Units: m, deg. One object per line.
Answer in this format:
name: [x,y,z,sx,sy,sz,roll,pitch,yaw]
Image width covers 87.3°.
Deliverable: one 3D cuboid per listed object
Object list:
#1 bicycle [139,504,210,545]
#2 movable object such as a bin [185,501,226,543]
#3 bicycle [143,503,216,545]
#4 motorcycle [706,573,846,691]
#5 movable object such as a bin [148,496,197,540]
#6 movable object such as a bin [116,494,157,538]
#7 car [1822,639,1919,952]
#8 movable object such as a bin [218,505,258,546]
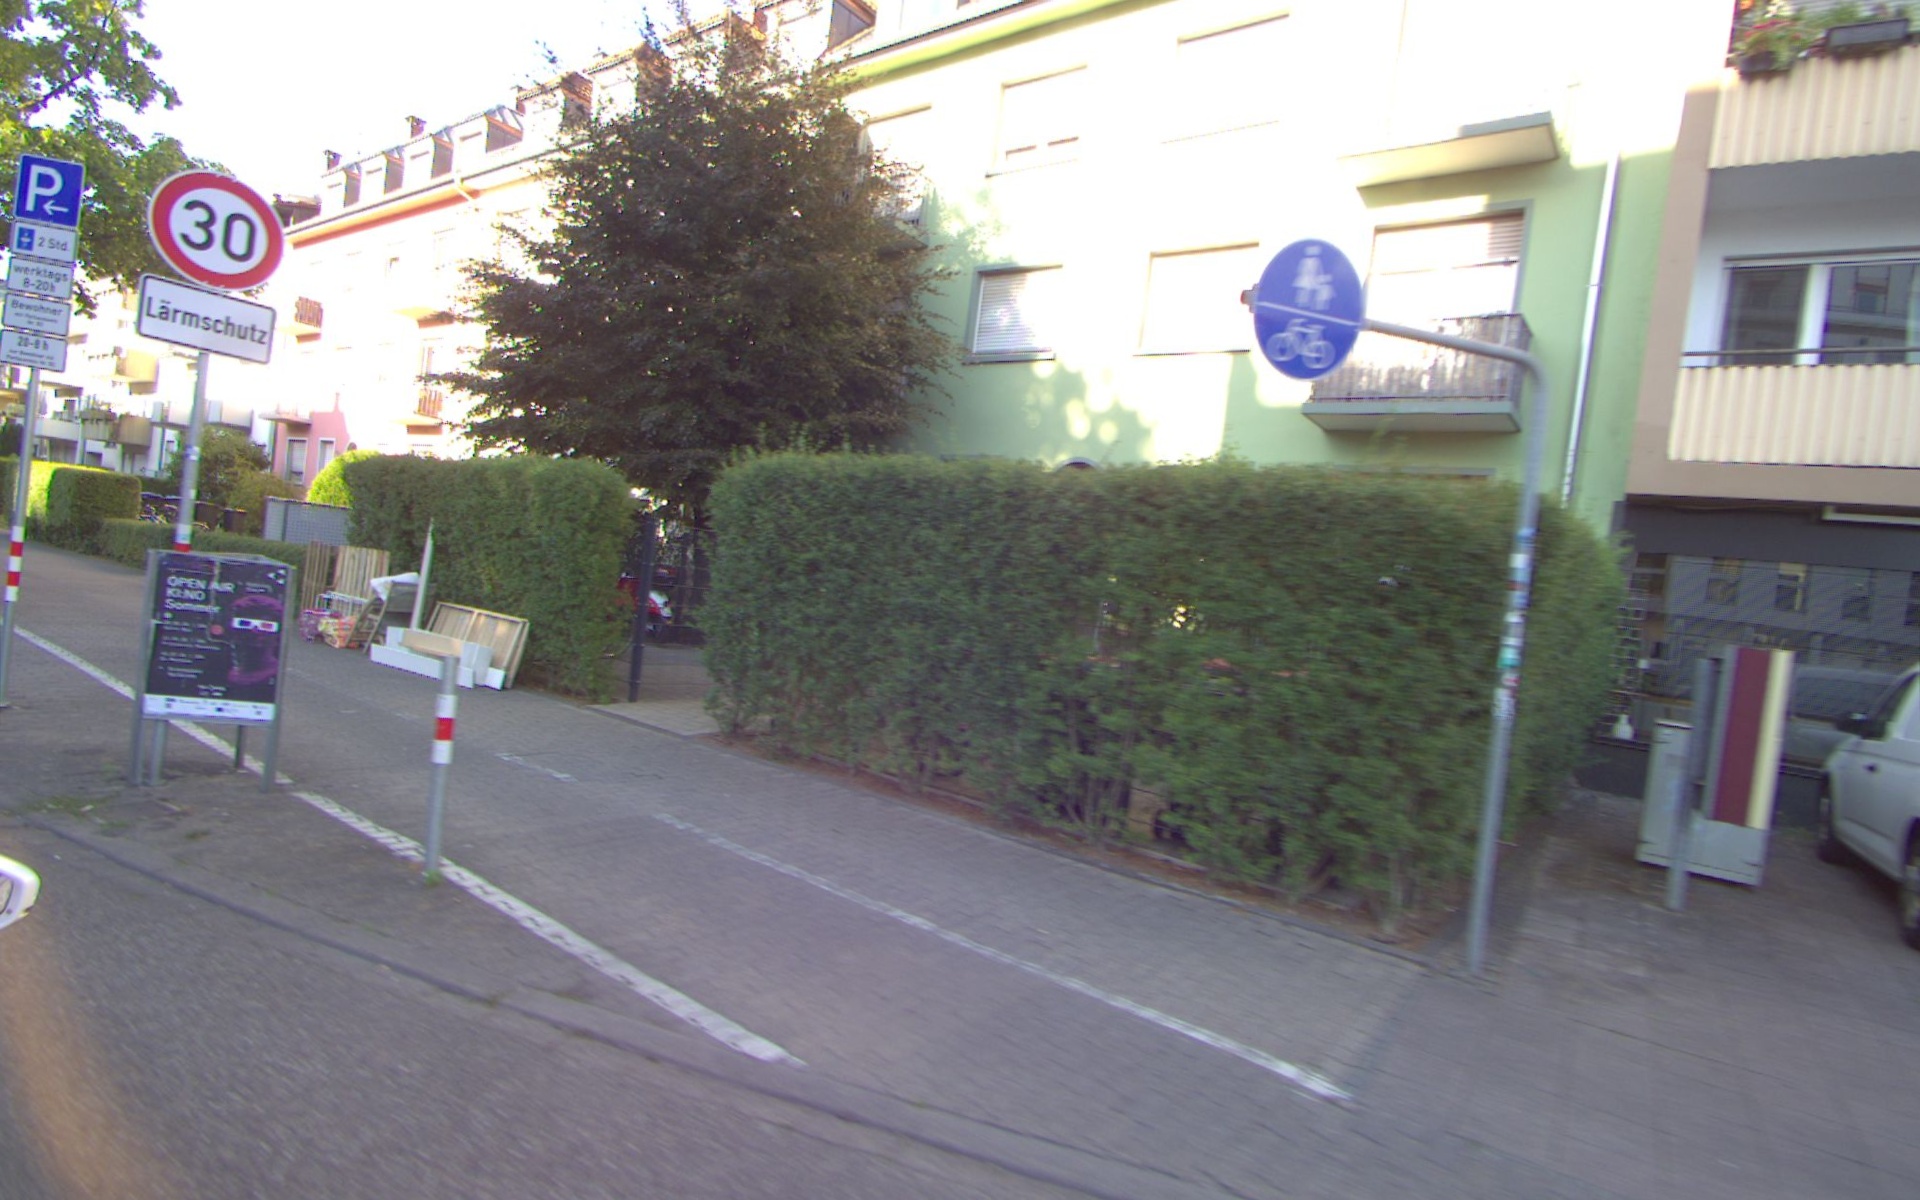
bicycle: [-20.288,-1.938,26.004,0.359,0.864,1.359,8,1,37]
movable object such as a bin: [-20.357,-2.111,27.135,0.784,1.015,0.611,8,2,37]
bicycle: [-19.938,-1.929,25.719,0.363,0.864,1.369,9,1,38]
motorcycle: [-2.408,0.394,13.040,1.913,1.273,0.493,8,2,37]
movable object such as a bin: [-20.785,-2.165,26.550,0.784,1.015,0.776,8,2,37]
movable object such as a bin: [-21.164,-2.160,25.863,0.784,1.015,0.581,8,2,37]
car: [7.250,1.308,6.549,1.832,1.837,4.089,8,1,34]
movable object such as a bin: [-19.916,-2.055,27.756,0.784,1.015,0.611,8,2,37]
